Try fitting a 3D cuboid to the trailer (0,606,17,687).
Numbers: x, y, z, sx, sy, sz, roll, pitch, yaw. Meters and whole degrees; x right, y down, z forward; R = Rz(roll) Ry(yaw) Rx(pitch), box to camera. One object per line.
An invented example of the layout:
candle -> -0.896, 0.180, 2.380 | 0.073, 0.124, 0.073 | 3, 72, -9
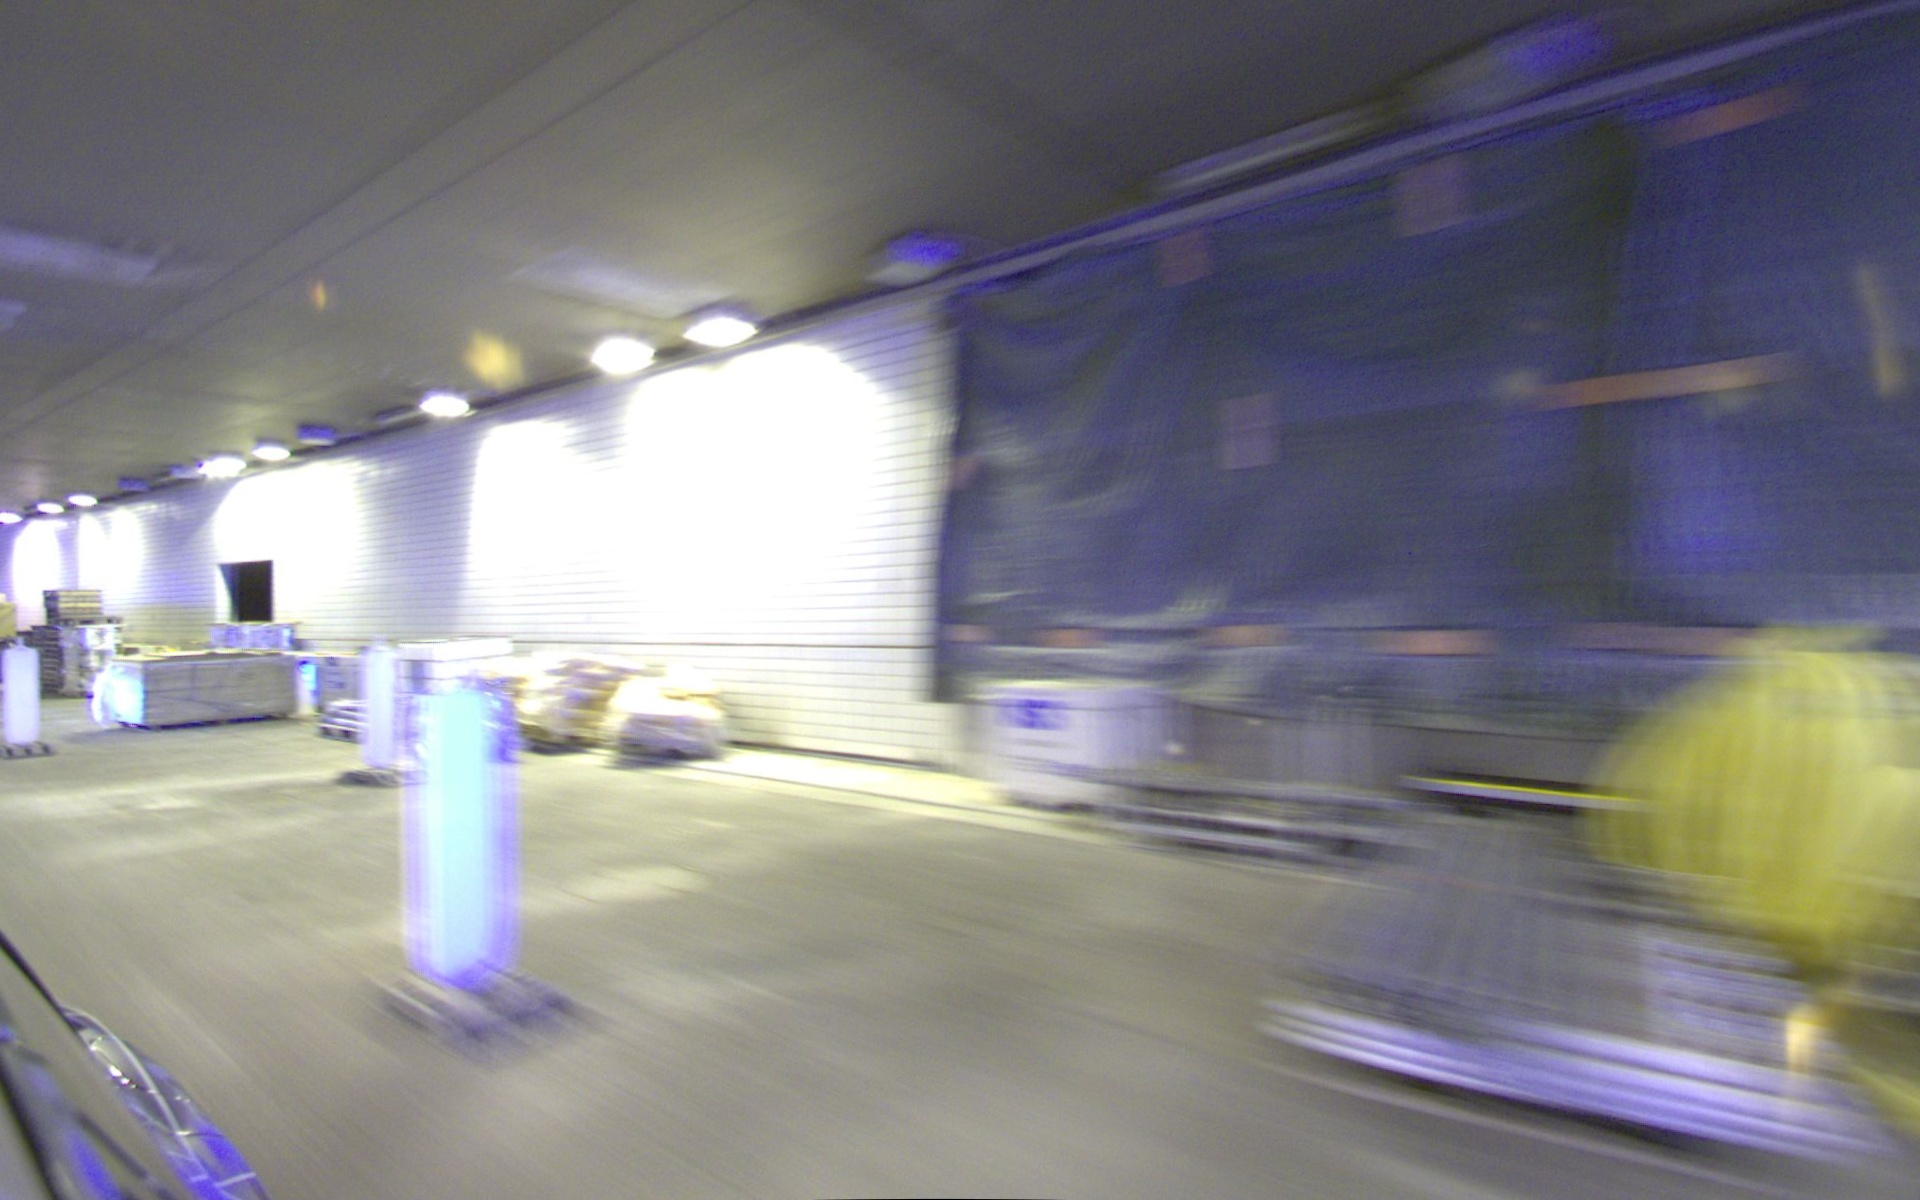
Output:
trailer -> -25.816, 1.179, 25.493 | 3.454, 2.029, 2.192 | -1, 0, 31
